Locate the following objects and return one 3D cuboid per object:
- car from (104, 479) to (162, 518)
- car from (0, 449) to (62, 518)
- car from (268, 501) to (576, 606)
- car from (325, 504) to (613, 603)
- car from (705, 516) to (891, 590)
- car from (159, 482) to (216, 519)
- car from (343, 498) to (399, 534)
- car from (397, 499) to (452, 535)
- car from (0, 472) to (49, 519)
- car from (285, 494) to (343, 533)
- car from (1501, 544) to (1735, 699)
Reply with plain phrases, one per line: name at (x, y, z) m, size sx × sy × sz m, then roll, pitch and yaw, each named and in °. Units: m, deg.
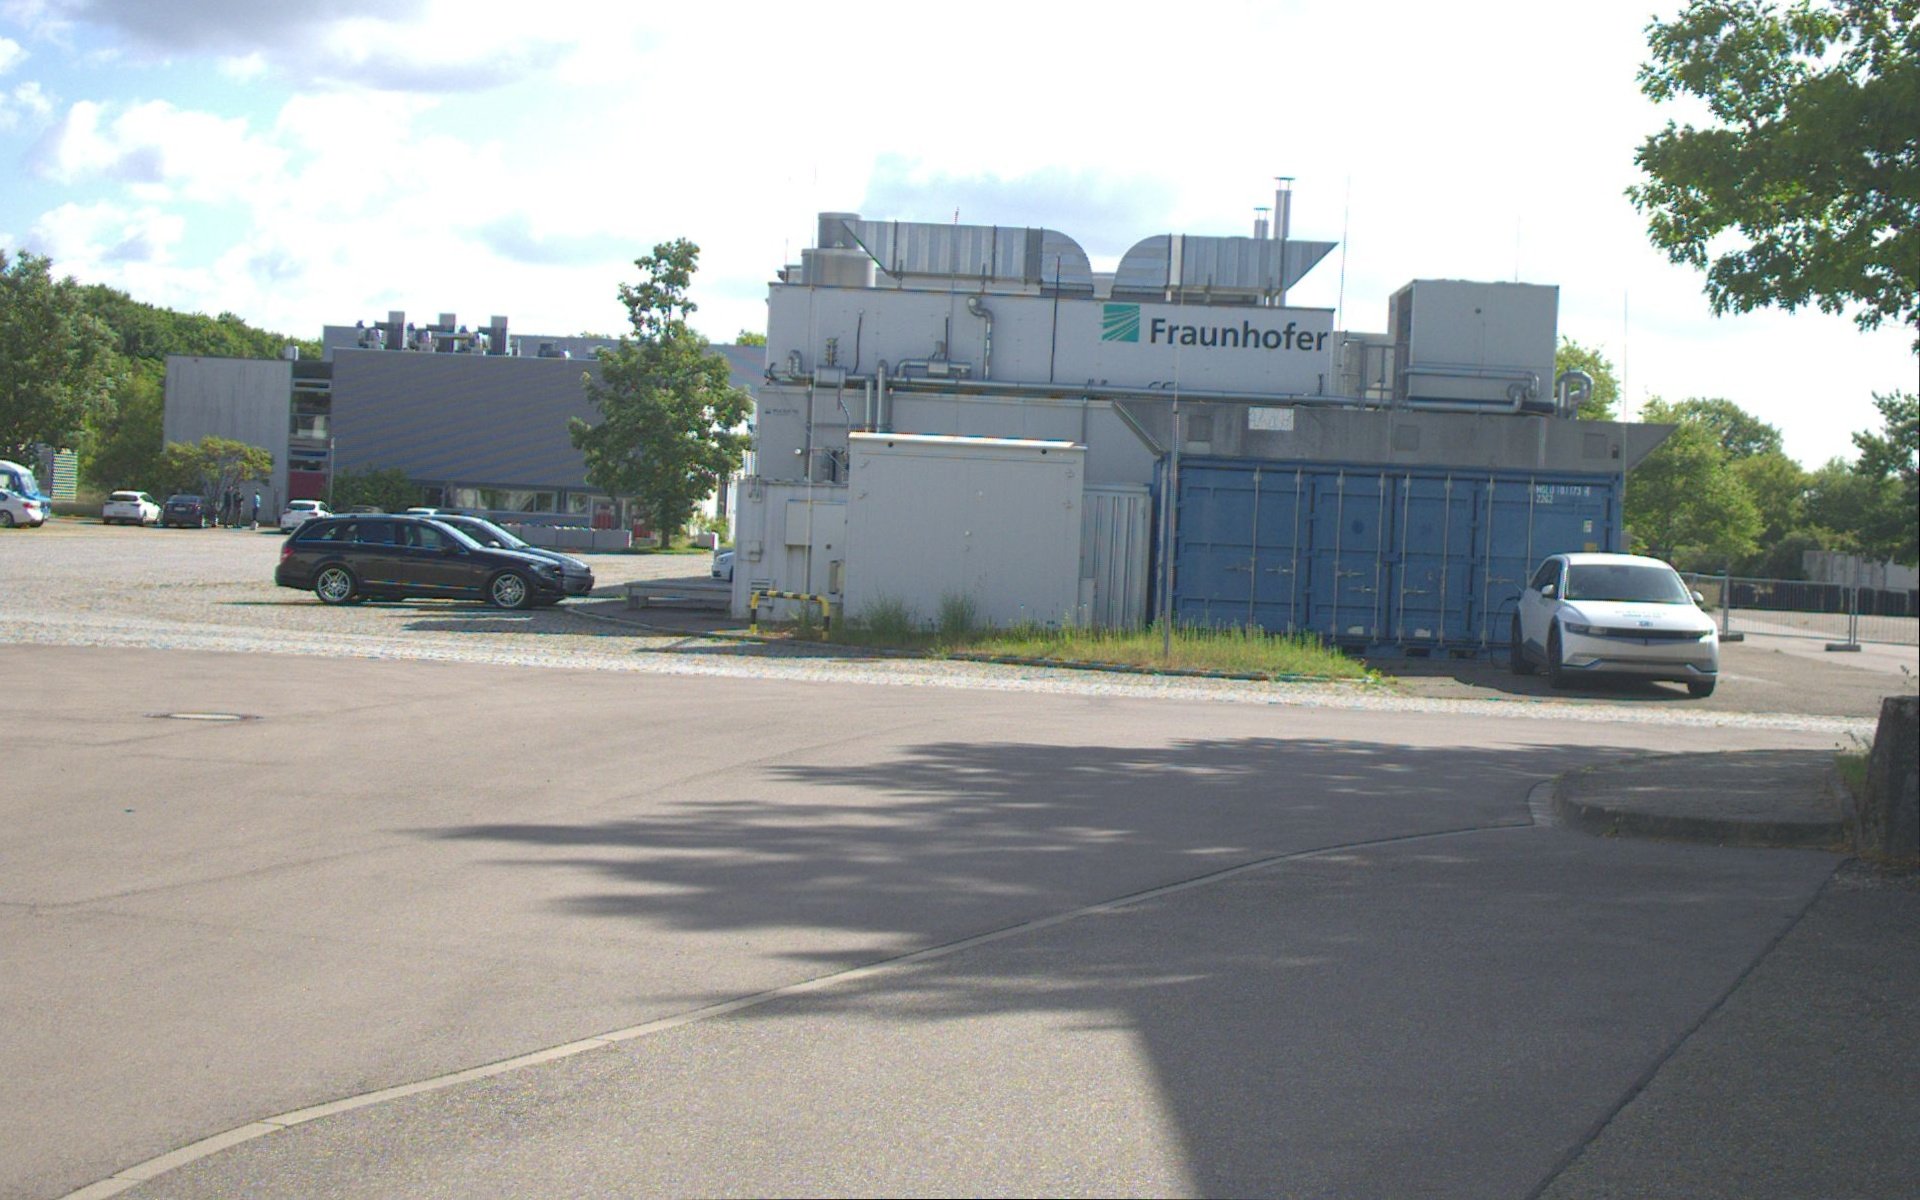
car at (-36.606, -4.489, 152.228) m, size 1.846 × 1.663 × 4.134 m, roll 1°, pitch 1°, yaw -4°
car at (-36.607, -4.443, 128.703) m, size 5.259 × 2.433 × 2.049 m, roll 3°, pitch 1°, yaw 5°
car at (-8.544, -0.724, 54.890) m, size 4.530 × 1.438 × 1.987 m, roll 2°, pitch -1°, yaw 1°
car at (-8.264, -0.778, 58.143) m, size 4.530 × 1.438 × 1.904 m, roll 2°, pitch -1°, yaw 1°
car at (-3.873, -1.114, 82.551) m, size 4.279 × 1.564 × 1.987 m, roll 2°, pitch -1°, yaw 1°
car at (-34.155, -4.381, 152.065) m, size 1.877 × 1.532 × 4.036 m, roll 1°, pitch 1°, yaw -4°
car at (-26.029, -3.702, 152.015) m, size 1.877 × 1.532 × 4.036 m, roll 1°, pitch 1°, yaw -1°
car at (-23.698, -3.667, 152.193) m, size 1.877 × 1.532 × 4.036 m, roll 1°, pitch 1°, yaw -1°
car at (-35.686, -3.897, 125.752) m, size 4.111 × 1.625 × 1.807 m, roll 3°, pitch 1°, yaw 5°
car at (-28.592, -3.822, 152.213) m, size 1.877 × 1.684 × 4.036 m, roll 1°, pitch 1°, yaw -1°
car at (7.966, 0.215, 41.987) m, size 1.981 × 1.588 × 4.341 m, roll 3°, pitch 2°, yaw 1°
